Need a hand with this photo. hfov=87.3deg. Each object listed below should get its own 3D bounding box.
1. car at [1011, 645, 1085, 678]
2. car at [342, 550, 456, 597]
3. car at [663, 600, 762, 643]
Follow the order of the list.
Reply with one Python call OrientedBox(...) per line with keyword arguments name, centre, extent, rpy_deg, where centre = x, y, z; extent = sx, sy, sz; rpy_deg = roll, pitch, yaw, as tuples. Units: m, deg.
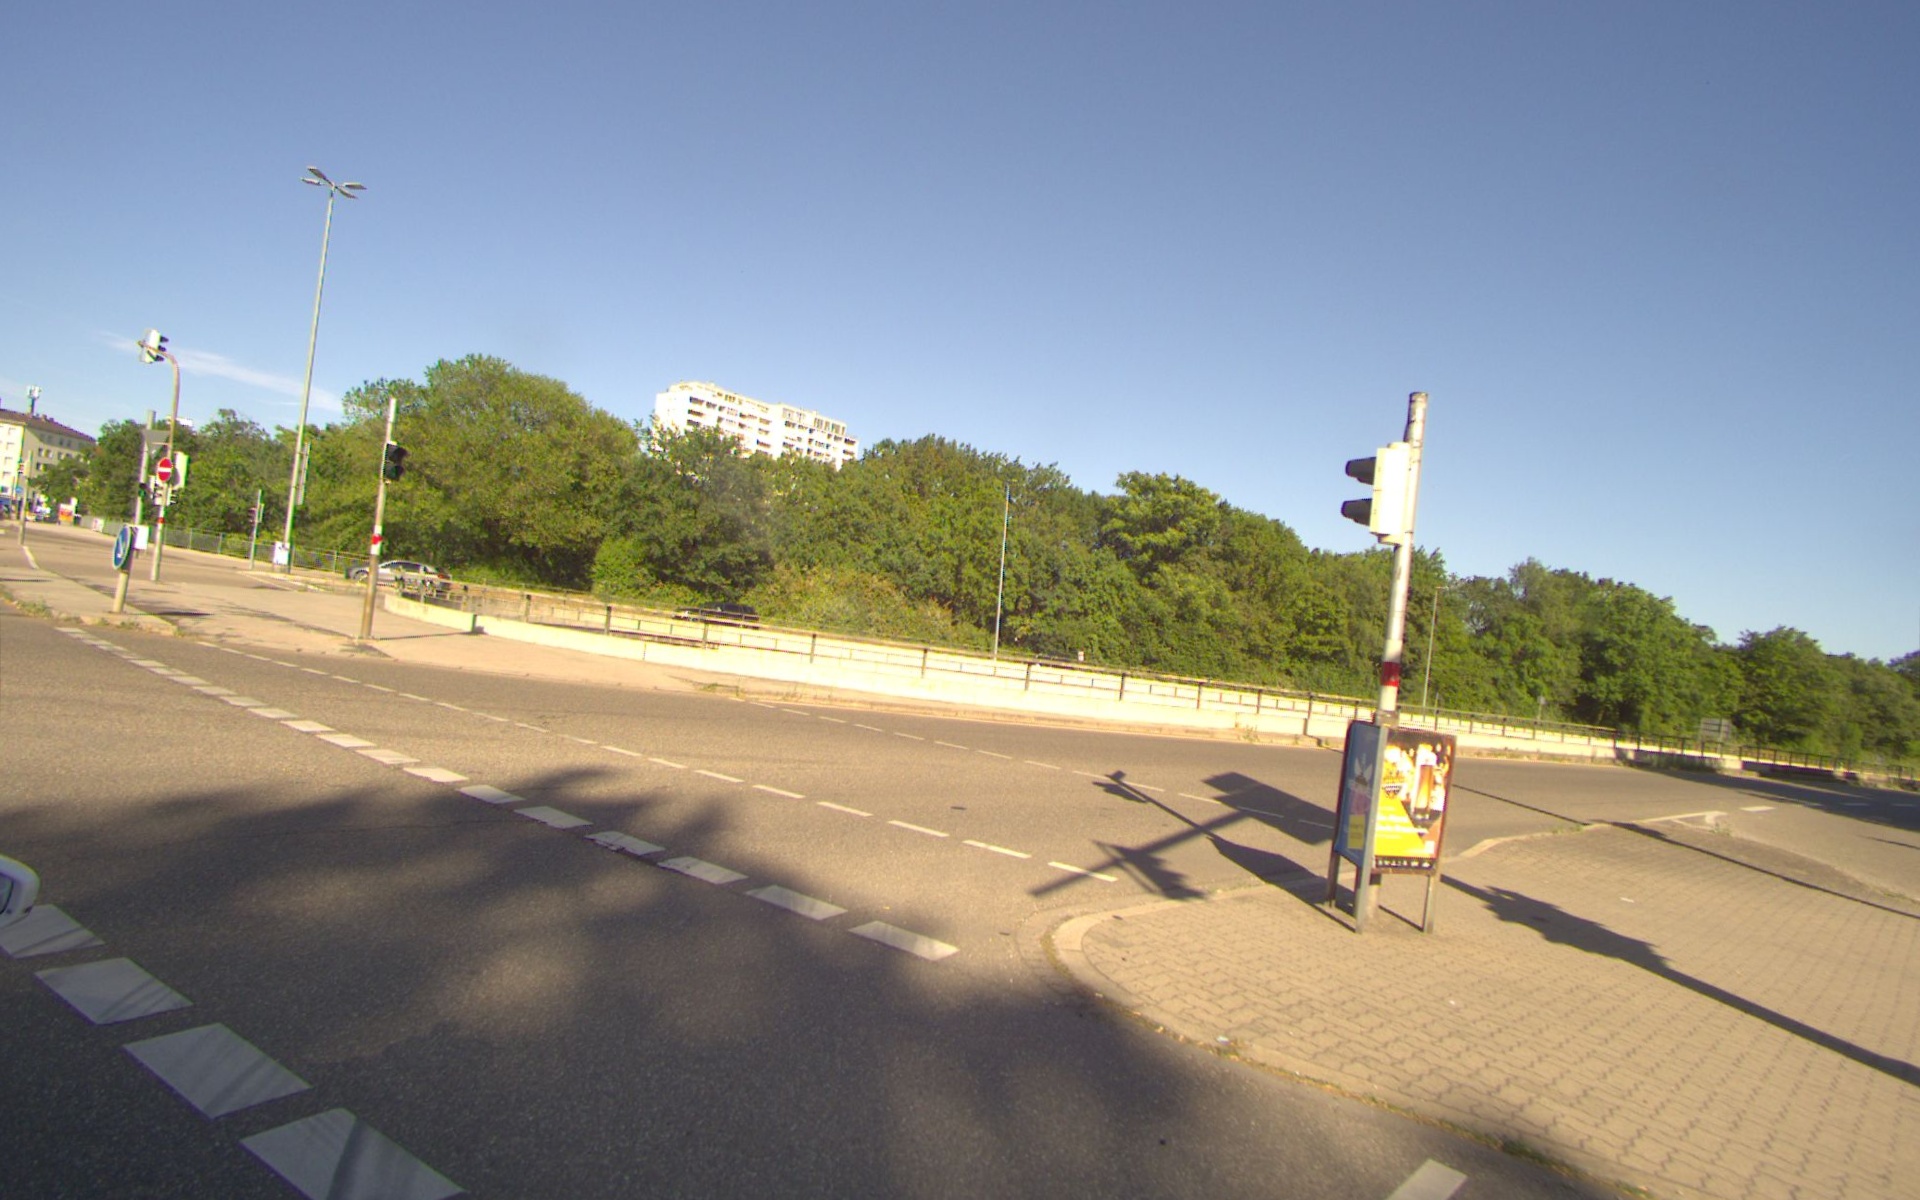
OrientedBox(name="car", centre=(5.932, 4.128, 67.334), extent=(4.632, 1.635, 1.846), rpy_deg=(8, -2, -32))
OrientedBox(name="car", centre=(-26.224, -1.206, 47.191), extent=(4.181, 1.570, 1.855), rpy_deg=(8, -1, -16))
OrientedBox(name="car", centre=(-13.151, 1.165, 53.543), extent=(4.637, 1.635, 1.844), rpy_deg=(9, -2, -35))
